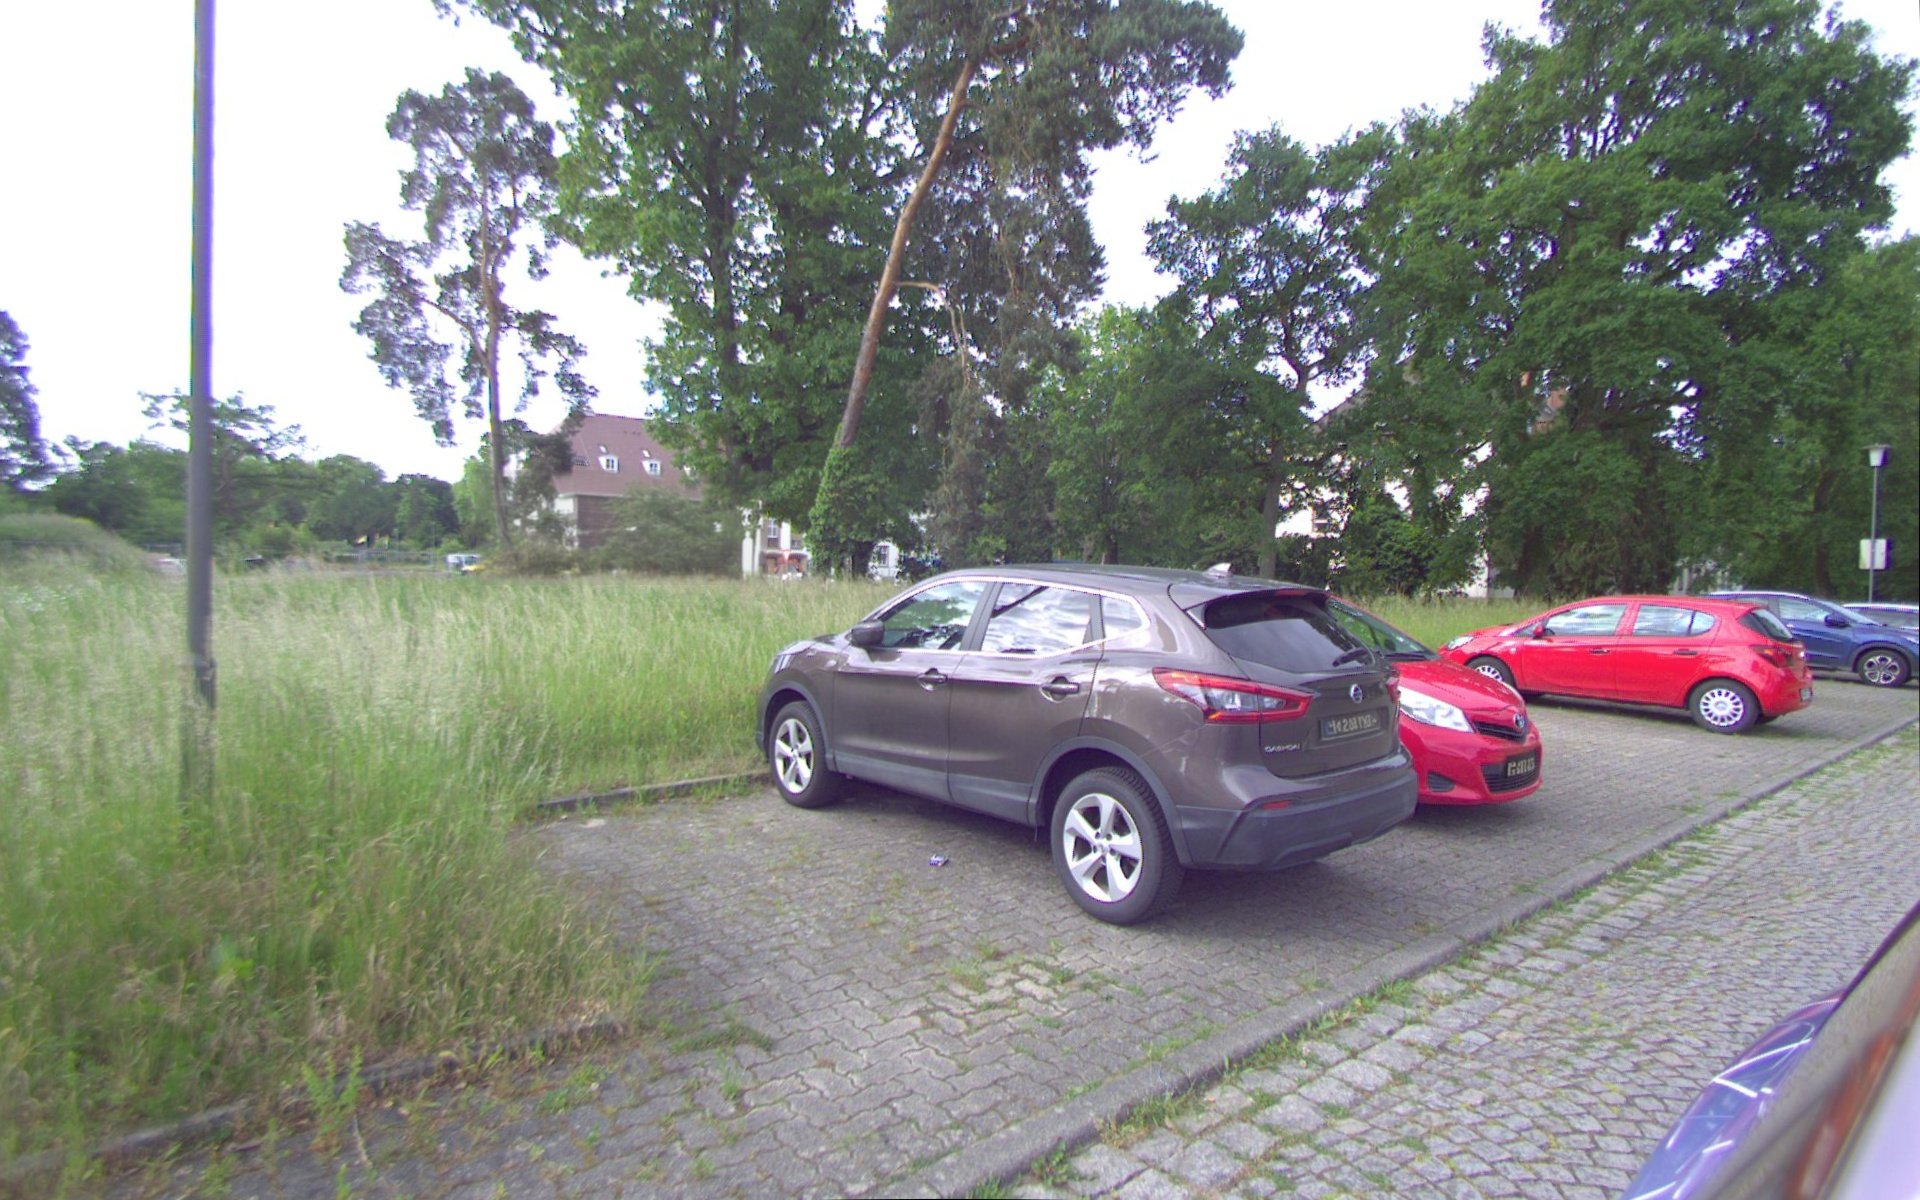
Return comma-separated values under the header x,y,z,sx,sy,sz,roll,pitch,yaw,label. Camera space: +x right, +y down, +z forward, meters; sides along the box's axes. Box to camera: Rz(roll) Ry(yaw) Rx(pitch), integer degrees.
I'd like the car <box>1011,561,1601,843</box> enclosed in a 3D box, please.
x,y,z,sx,sy,sz,roll,pitch,yaw,label
2.400,0.528,7.900,1.734,1.504,4.017,0,3,-39,car

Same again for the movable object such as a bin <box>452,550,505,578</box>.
x,y,z,sx,sy,sz,roll,pitch,yaw,label
-35.638,-2.643,74.957,1.669,2.038,3.206,2,2,32,movable object such as a bin

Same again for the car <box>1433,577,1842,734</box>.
x,y,z,sx,sy,sz,roll,pitch,yaw,label
8.190,0.548,12.530,1.554,1.477,3.893,0,3,-40,car

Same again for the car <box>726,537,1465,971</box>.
x,y,z,sx,sy,sz,roll,pitch,yaw,label
0.425,0.491,6.081,1.790,1.618,4.270,0,3,-40,car

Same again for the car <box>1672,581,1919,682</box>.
x,y,z,sx,sy,sz,roll,pitch,yaw,label
15.994,0.528,18.877,1.554,1.557,4.149,0,3,-40,car

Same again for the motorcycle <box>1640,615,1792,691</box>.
x,y,z,sx,sy,sz,roll,pitch,yaw,label
11.467,0.769,15.394,0.604,0.969,1.742,0,3,-45,motorcycle

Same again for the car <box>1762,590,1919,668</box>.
x,y,z,sx,sy,sz,roll,pitch,yaw,label
19.717,0.619,21.548,1.554,1.443,3.877,0,3,-40,car

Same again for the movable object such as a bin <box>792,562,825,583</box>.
x,y,z,sx,sy,sz,roll,pitch,yaw,label
-15.539,-2.841,104.052,2.931,2.038,1.553,0,2,-39,movable object such as a bin
